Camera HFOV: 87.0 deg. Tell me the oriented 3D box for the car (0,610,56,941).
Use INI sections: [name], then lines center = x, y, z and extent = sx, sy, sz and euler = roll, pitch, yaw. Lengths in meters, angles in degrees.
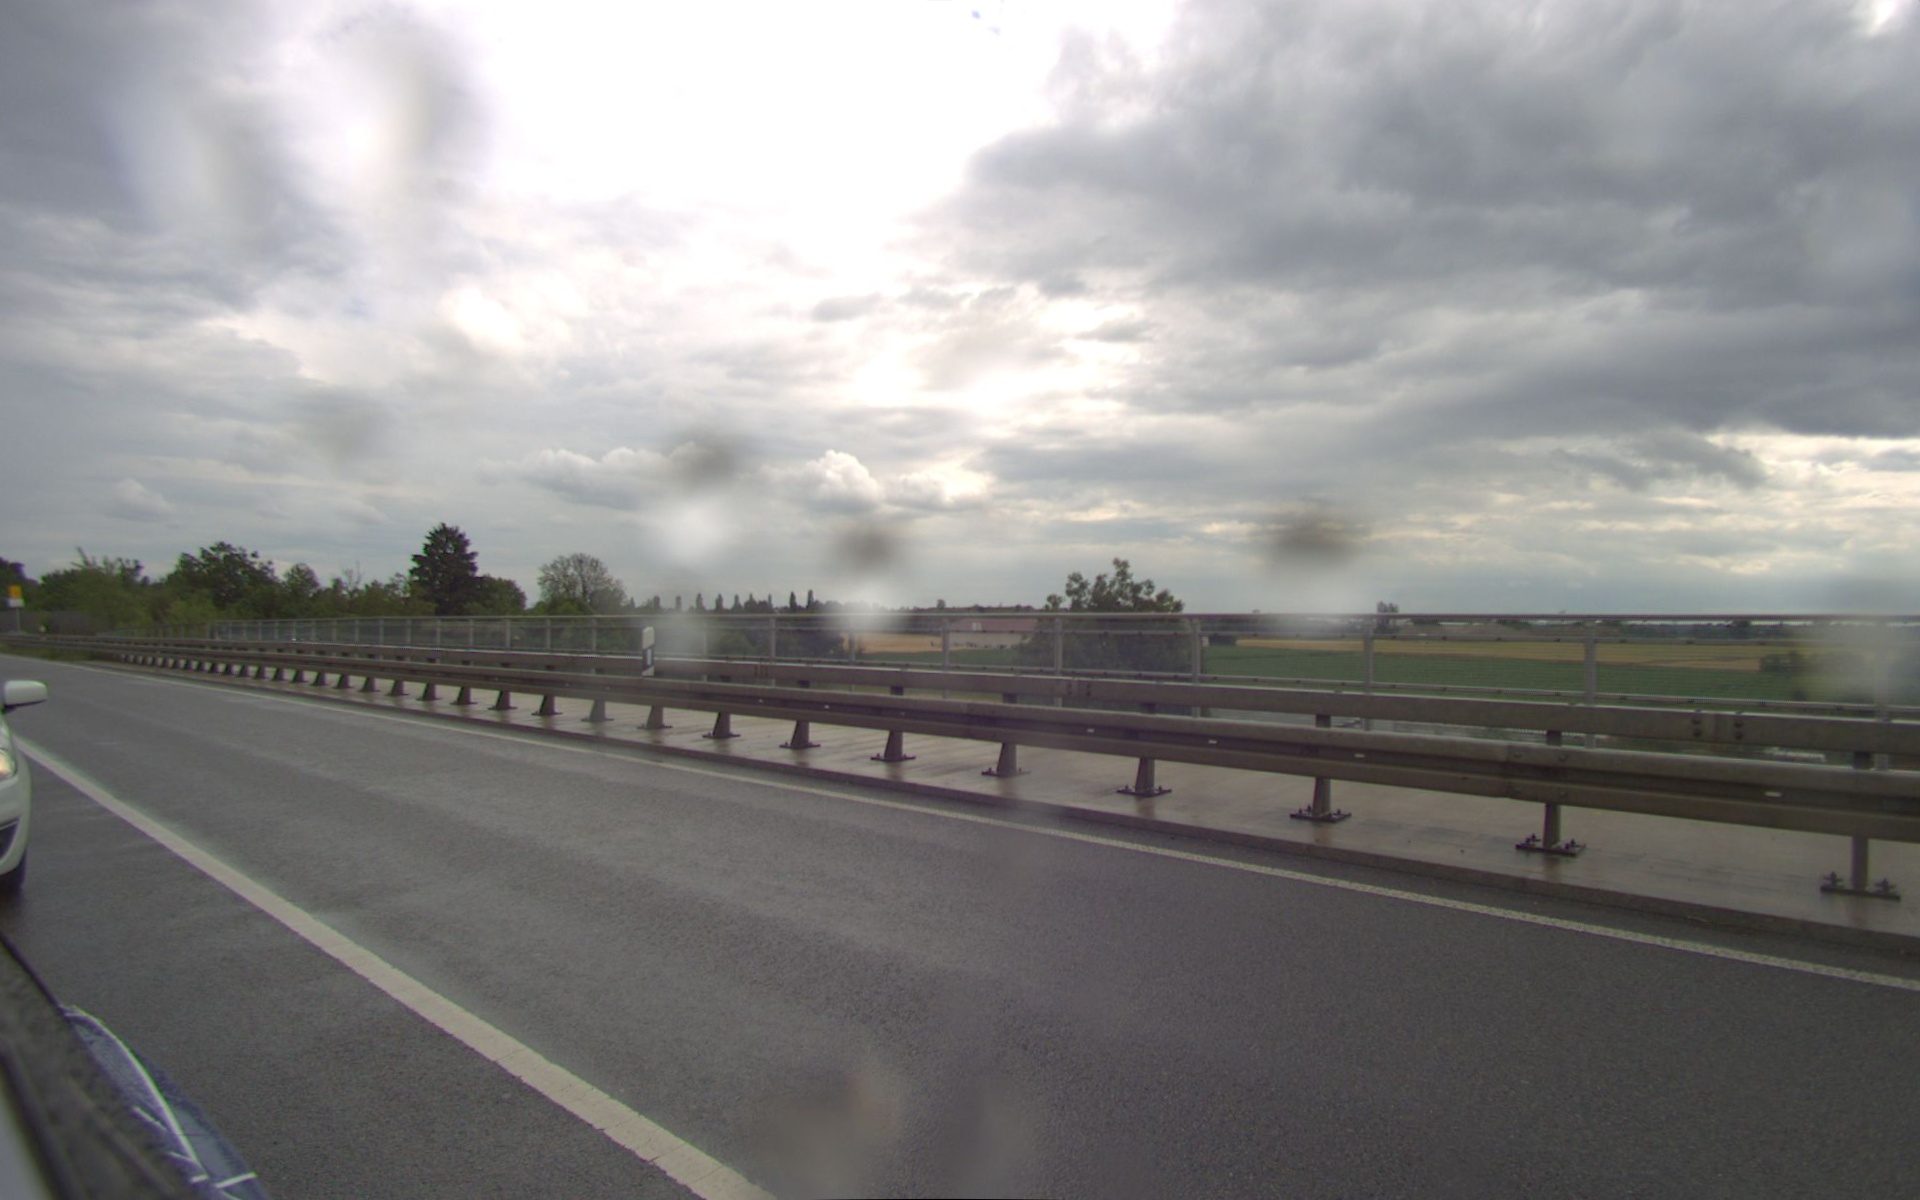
[car]
center = -6.320, 0.816, 5.455
extent = 4.127, 1.496, 1.653
euler = -1, 0, 41
